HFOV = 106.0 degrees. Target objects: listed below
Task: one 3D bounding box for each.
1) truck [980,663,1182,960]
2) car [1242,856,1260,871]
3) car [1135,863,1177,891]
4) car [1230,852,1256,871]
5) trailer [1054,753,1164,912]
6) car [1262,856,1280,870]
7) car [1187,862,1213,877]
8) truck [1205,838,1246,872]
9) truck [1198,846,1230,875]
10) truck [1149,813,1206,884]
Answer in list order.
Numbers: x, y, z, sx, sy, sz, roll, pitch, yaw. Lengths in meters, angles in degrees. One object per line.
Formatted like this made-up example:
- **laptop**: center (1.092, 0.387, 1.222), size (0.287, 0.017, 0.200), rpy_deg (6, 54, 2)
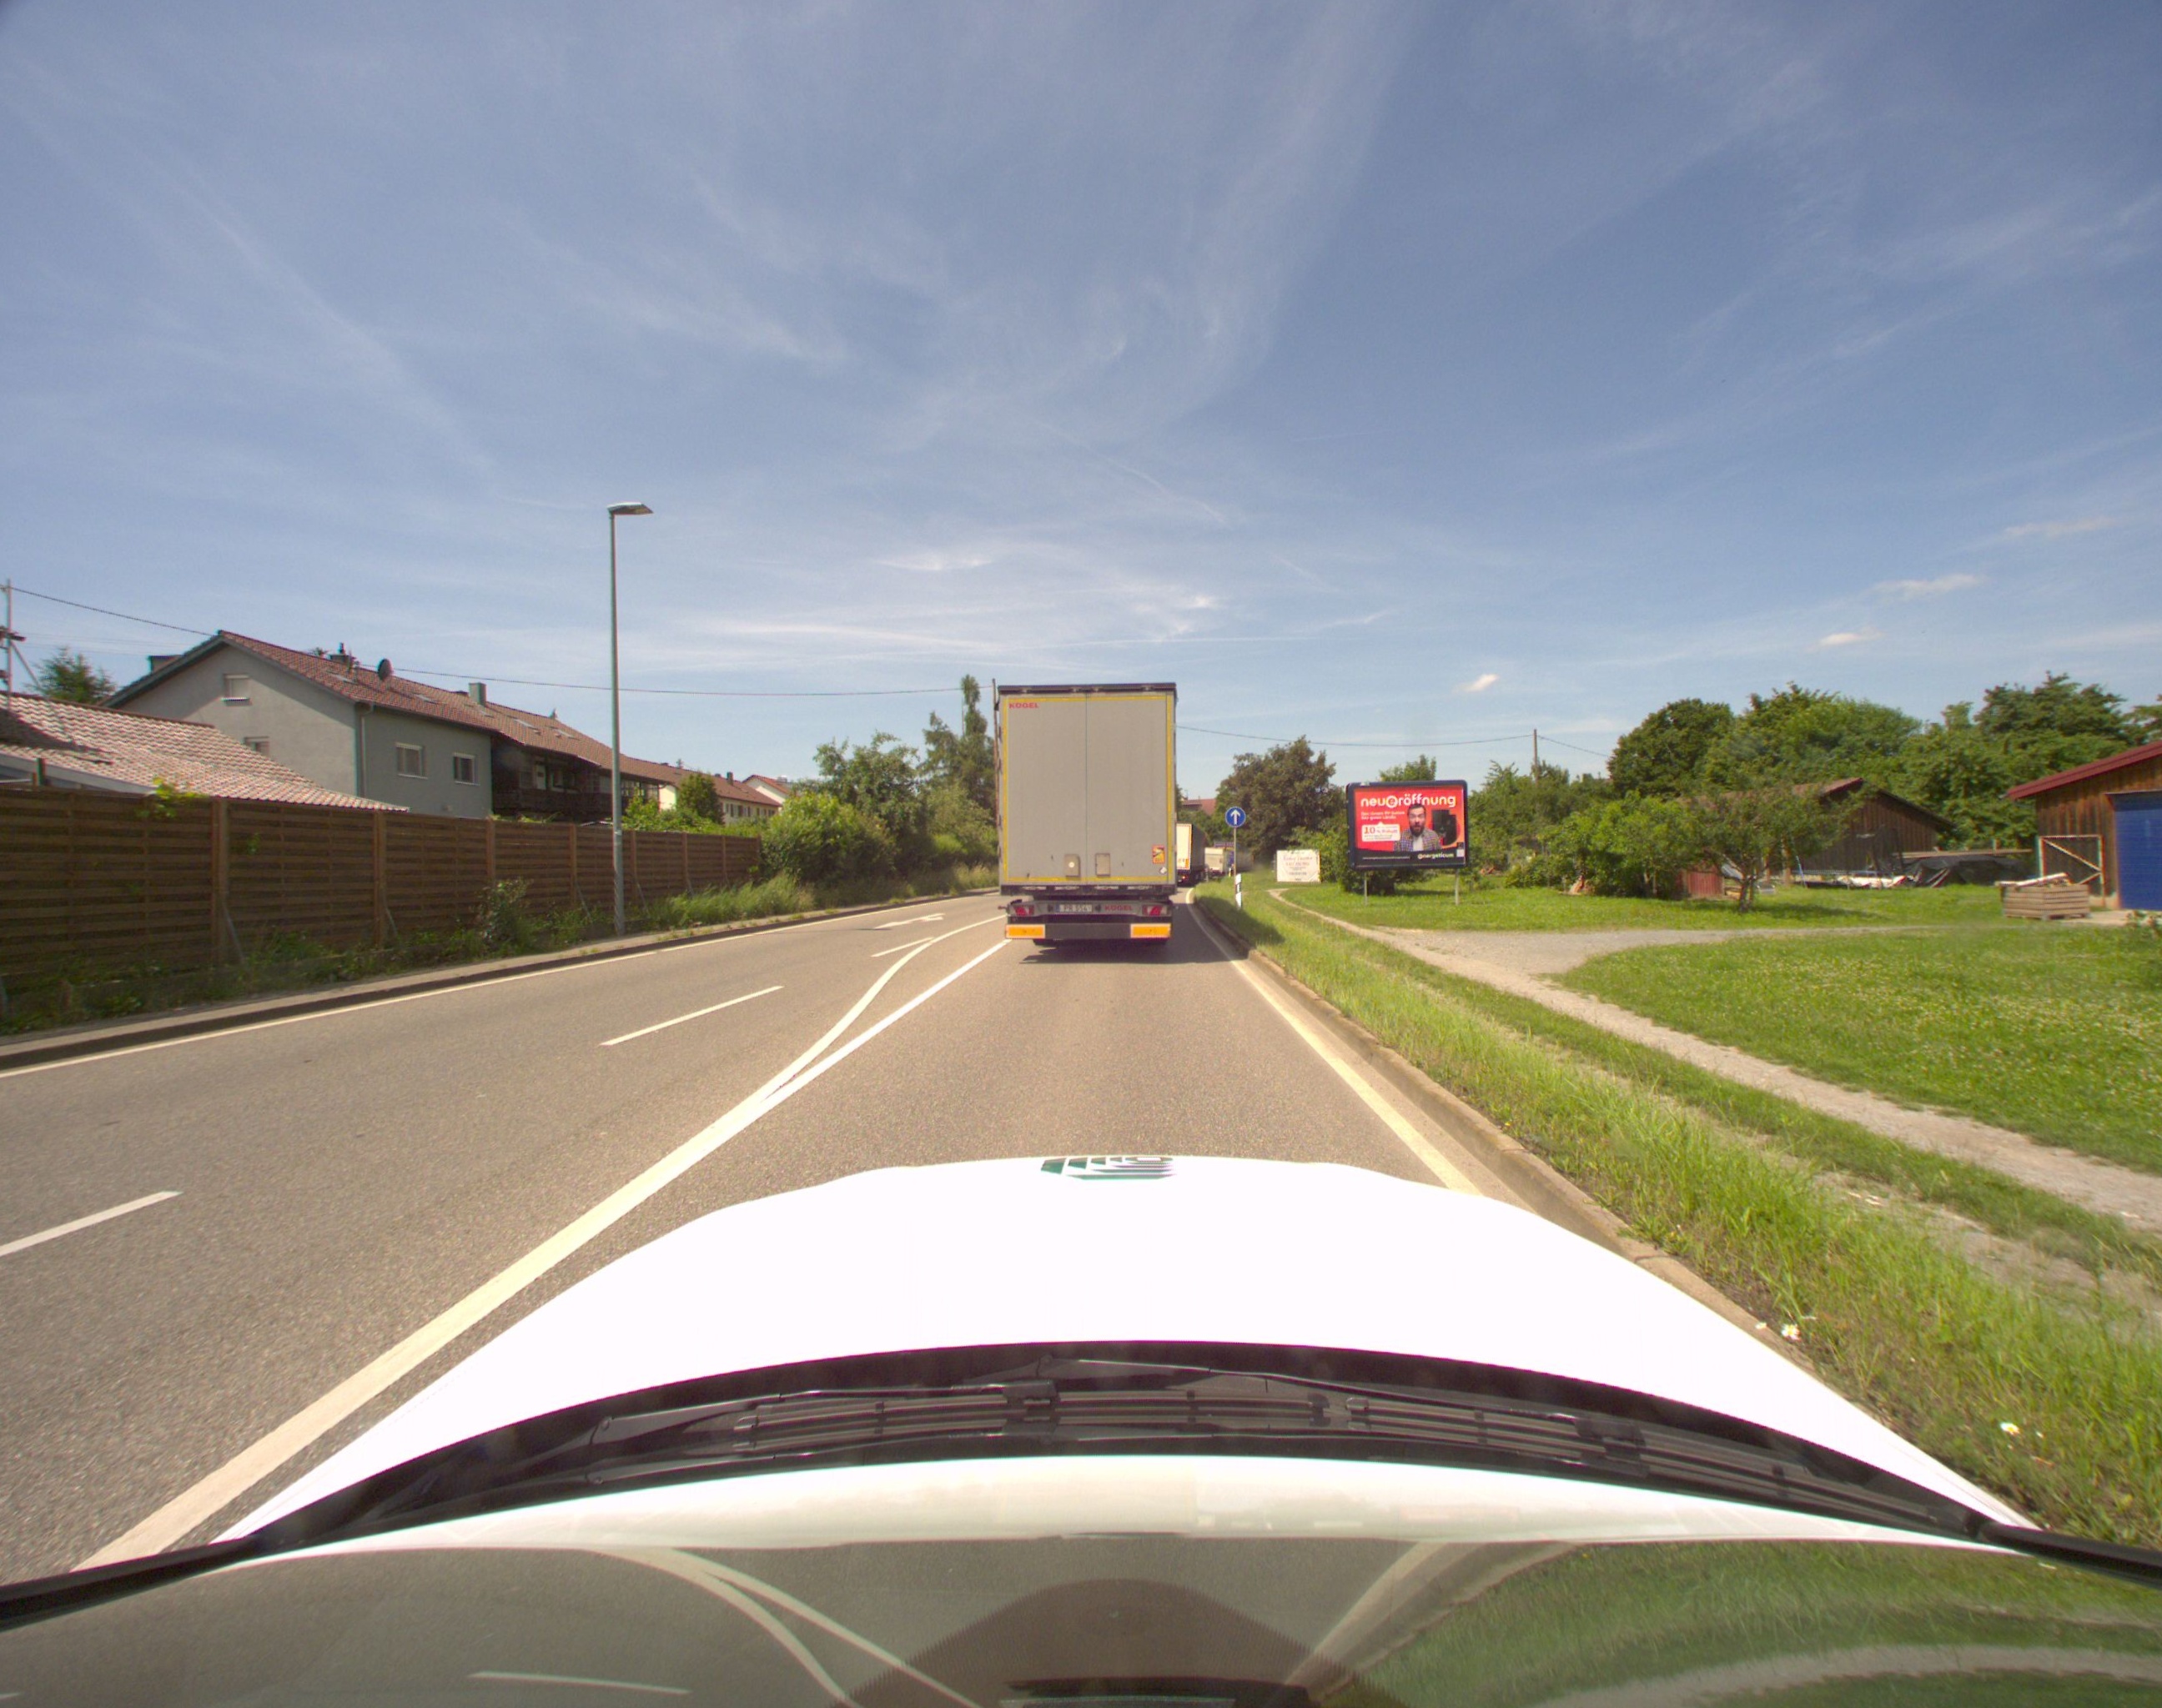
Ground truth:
- **truck**: center (0.417, -0.596, 17.107), size (2.809, 4.127, 11.456), rpy_deg (0, 0, 4)
- **car**: center (22.813, 1.285, 109.108), size (1.978, 2.014, 4.018), rpy_deg (-1, -1, 17)
- **car**: center (3.827, 1.116, 40.870), size (1.808, 1.346, 3.857), rpy_deg (0, -1, 9)
- **car**: center (20.550, 0.903, 102.795), size (2.512, 2.277, 6.410), rpy_deg (0, 0, 17)
- **trailer**: center (1.026, -0.549, 24.504), size (2.812, 4.111, 6.553), rpy_deg (-1, 0, 5)
- **car**: center (27.538, 1.348, 118.039), size (1.976, 2.014, 4.021), rpy_deg (-1, -1, 22)
- **car**: center (10.799, 1.404, 73.752), size (1.979, 1.376, 4.014), rpy_deg (0, -1, 14)
- **truck**: center (16.367, 0.115, 91.665), size (3.406, 3.604, 9.395), rpy_deg (-1, 0, 17)
- **truck**: center (13.397, 0.673, 81.709), size (2.524, 2.803, 6.057), rpy_deg (0, -1, 16)
- **truck**: center (7.073, -0.176, 57.563), size (2.743, 4.289, 16.464), rpy_deg (0, -1, 11)
